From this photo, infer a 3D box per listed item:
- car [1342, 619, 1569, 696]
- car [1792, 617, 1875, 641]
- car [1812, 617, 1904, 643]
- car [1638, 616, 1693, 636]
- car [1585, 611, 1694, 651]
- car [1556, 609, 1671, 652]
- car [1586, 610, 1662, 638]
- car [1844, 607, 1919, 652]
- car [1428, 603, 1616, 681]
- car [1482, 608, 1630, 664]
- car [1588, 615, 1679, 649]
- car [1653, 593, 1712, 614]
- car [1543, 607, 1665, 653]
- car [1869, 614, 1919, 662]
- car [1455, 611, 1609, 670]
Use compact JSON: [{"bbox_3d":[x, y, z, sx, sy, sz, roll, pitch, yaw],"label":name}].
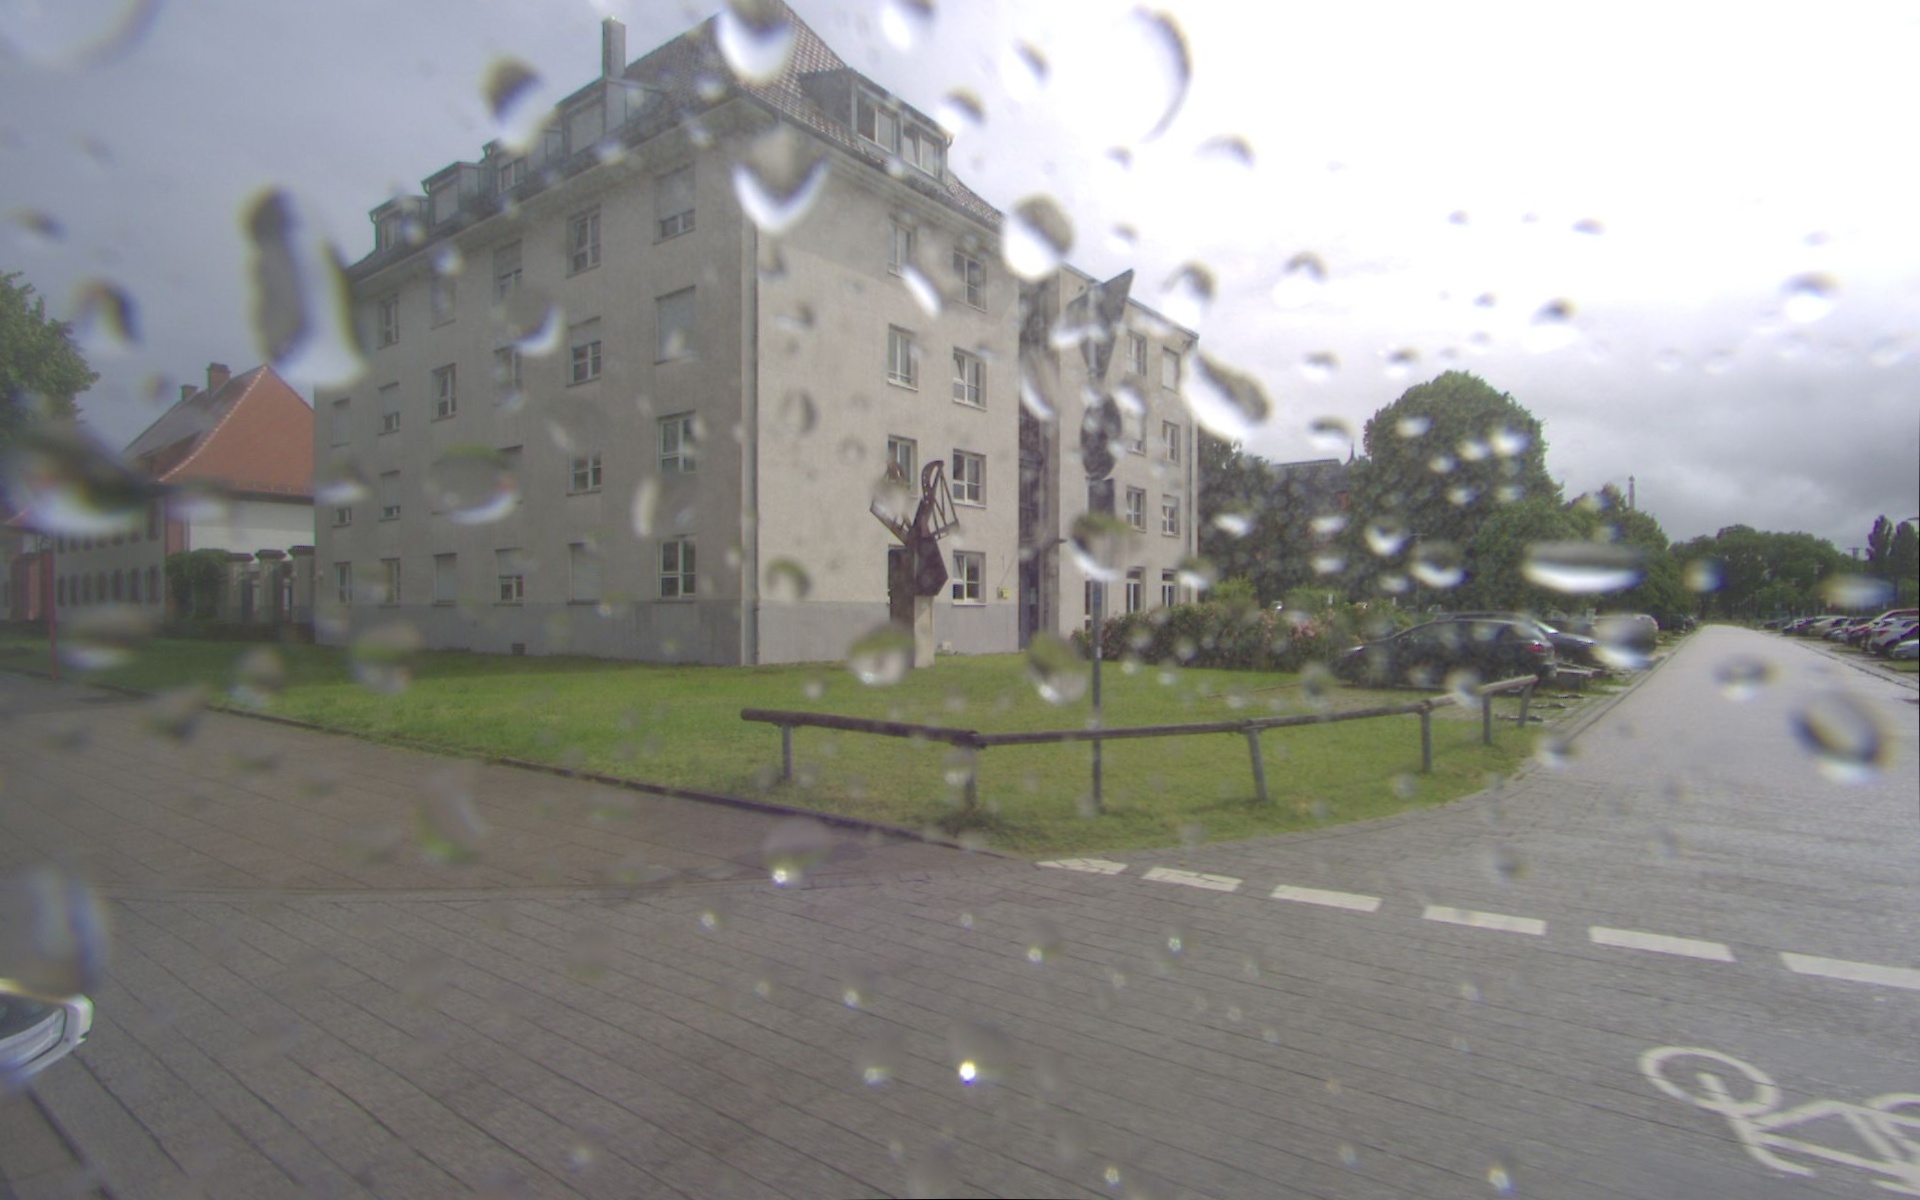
[{"bbox_3d":[9.668,1.061,19.680,3.825,1.343,1.382,0,0,37],"label":"car"},{"bbox_3d":[60.300,1.995,69.238,4.141,1.569,1.923,0,0,37],"label":"car"},{"bbox_3d":[57.183,1.863,63.879,4.141,1.569,1.923,0,0,37],"label":"car"},{"bbox_3d":[69.674,2.521,98.908,4.334,1.874,1.923,0,0,37],"label":"car"},{"bbox_3d":[33.287,1.484,49.084,4.334,1.874,1.923,0,0,37],"label":"car"},{"bbox_3d":[30.008,1.342,46.047,4.334,1.874,1.923,0,0,37],"label":"car"},{"bbox_3d":[45.932,1.627,69.316,4.334,1.874,1.923,0,0,37],"label":"car"},{"bbox_3d":[42.197,1.296,44.482,4.217,1.954,1.923,0,0,37],"label":"car"},{"bbox_3d":[14.584,1.033,26.072,4.079,1.874,1.923,0,0,37],"label":"car"},{"bbox_3d":[18.998,1.093,31.991,3.949,1.684,1.604,0,0,37],"label":"car"},{"bbox_3d":[35.680,1.683,53.109,3.949,1.684,1.604,0,0,37],"label":"car"},{"bbox_3d":[66.227,0.358,91.889,4.334,1.874,1.923,0,0,37],"label":"car"},{"bbox_3d":[27.761,1.269,43.231,4.334,1.874,1.923,0,0,37],"label":"car"},{"bbox_3d":[36.709,1.424,37.323,3.948,1.761,1.923,0,0,37],"label":"car"},{"bbox_3d":[17.552,1.194,30.813,3.949,1.684,1.604,0,0,37],"label":"car"}]
